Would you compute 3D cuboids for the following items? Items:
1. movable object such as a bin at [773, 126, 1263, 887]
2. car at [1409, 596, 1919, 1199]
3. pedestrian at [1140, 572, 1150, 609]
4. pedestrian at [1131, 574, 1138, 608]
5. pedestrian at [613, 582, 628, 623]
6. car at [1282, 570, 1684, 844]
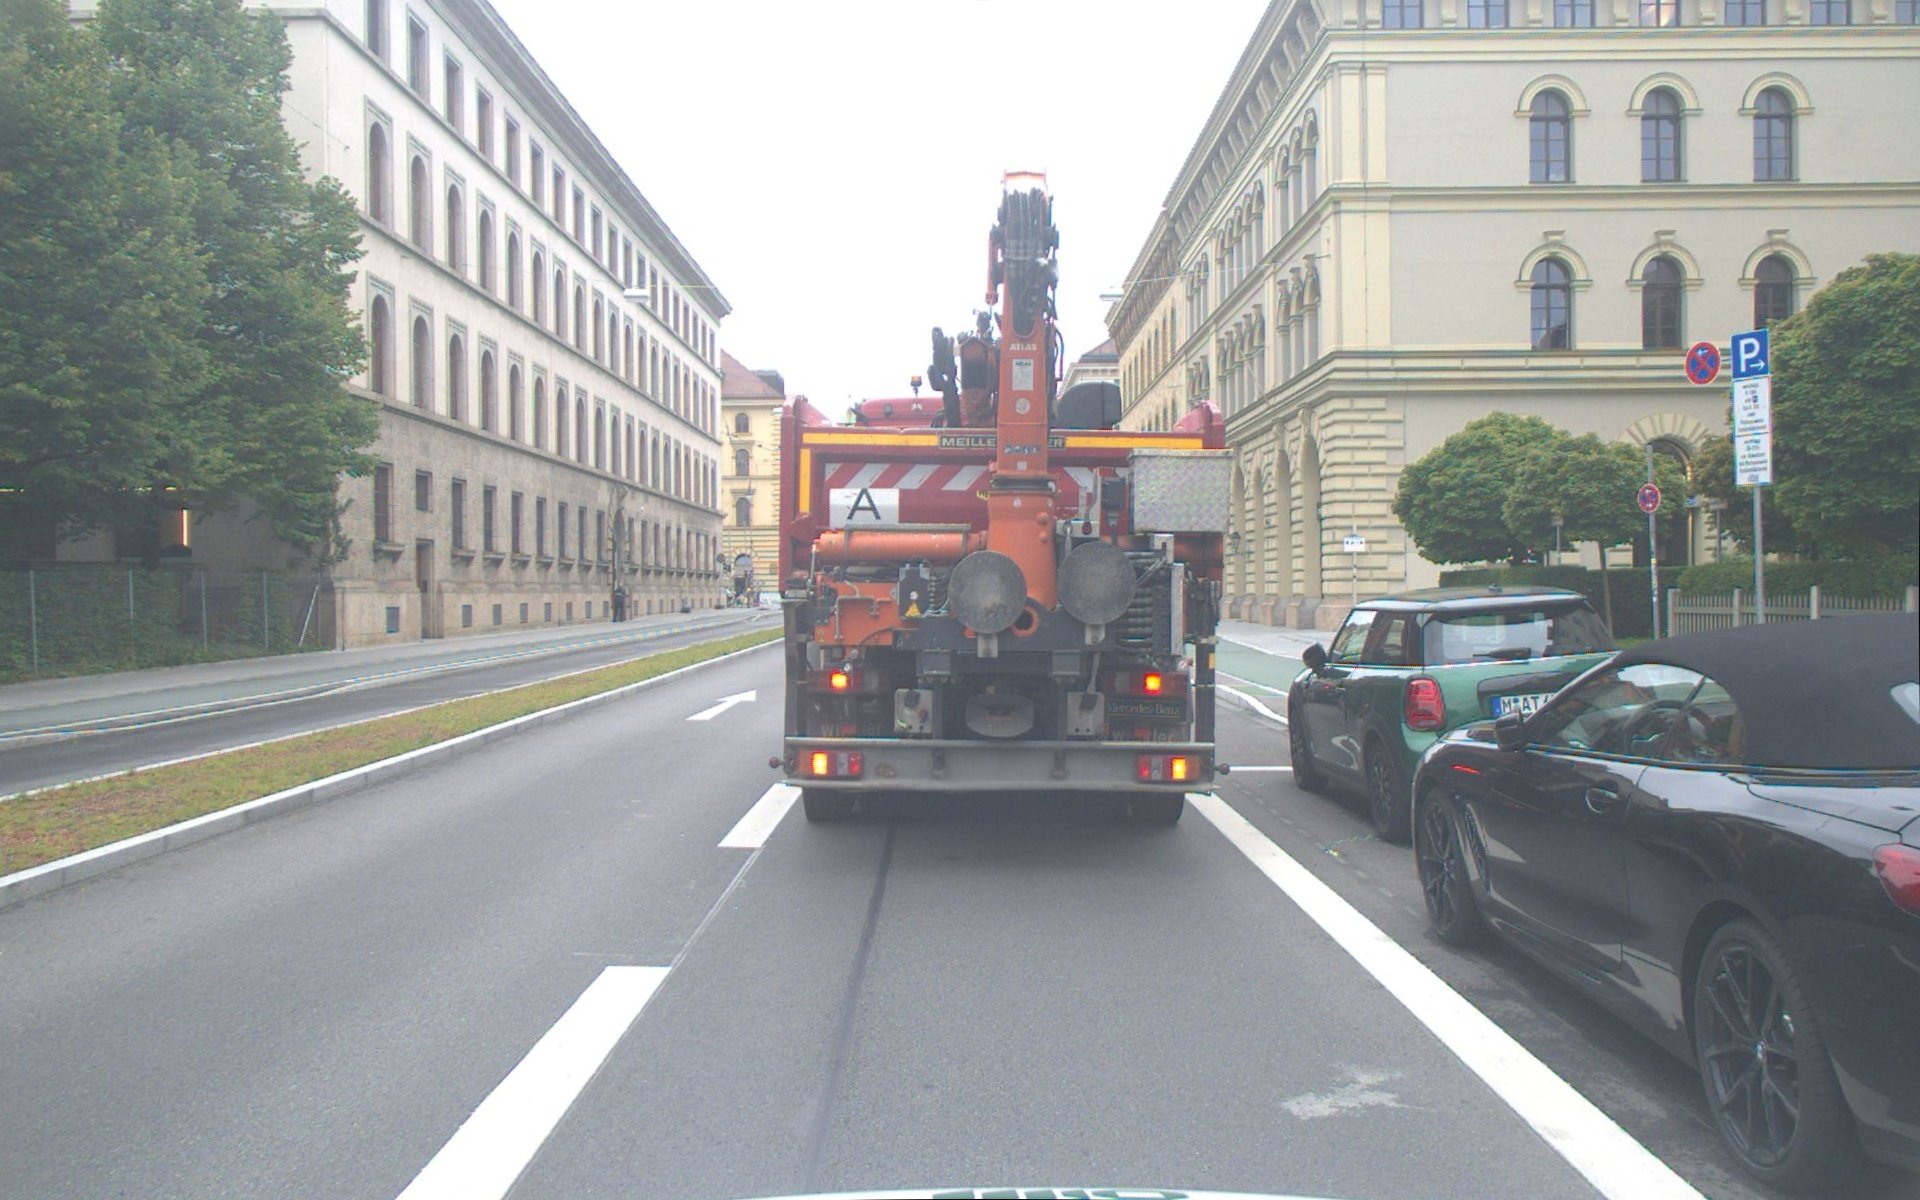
[{"bbox_3d":[0.232,-0.484,10.957,2.374,3.674,5.850,0,1,-1],"label":"movable object such as a bin"},{"bbox_3d":[2.883,0.723,5.336,1.646,1.410,4.426,-1,1,0],"label":"car"},{"bbox_3d":[9.446,-0.499,84.567,0.436,1.868,0.556,-1,0,1],"label":"pedestrian"},{"bbox_3d":[8.907,-0.470,84.516,0.330,1.701,0.440,-1,0,1],"label":"pedestrian"},{"bbox_3d":[-15.359,0.105,74.901,0.577,1.863,0.498,0,1,-1],"label":"pedestrian"},{"bbox_3d":[3.281,0.585,11.032,1.577,1.521,3.424,-1,1,0],"label":"car"}]
